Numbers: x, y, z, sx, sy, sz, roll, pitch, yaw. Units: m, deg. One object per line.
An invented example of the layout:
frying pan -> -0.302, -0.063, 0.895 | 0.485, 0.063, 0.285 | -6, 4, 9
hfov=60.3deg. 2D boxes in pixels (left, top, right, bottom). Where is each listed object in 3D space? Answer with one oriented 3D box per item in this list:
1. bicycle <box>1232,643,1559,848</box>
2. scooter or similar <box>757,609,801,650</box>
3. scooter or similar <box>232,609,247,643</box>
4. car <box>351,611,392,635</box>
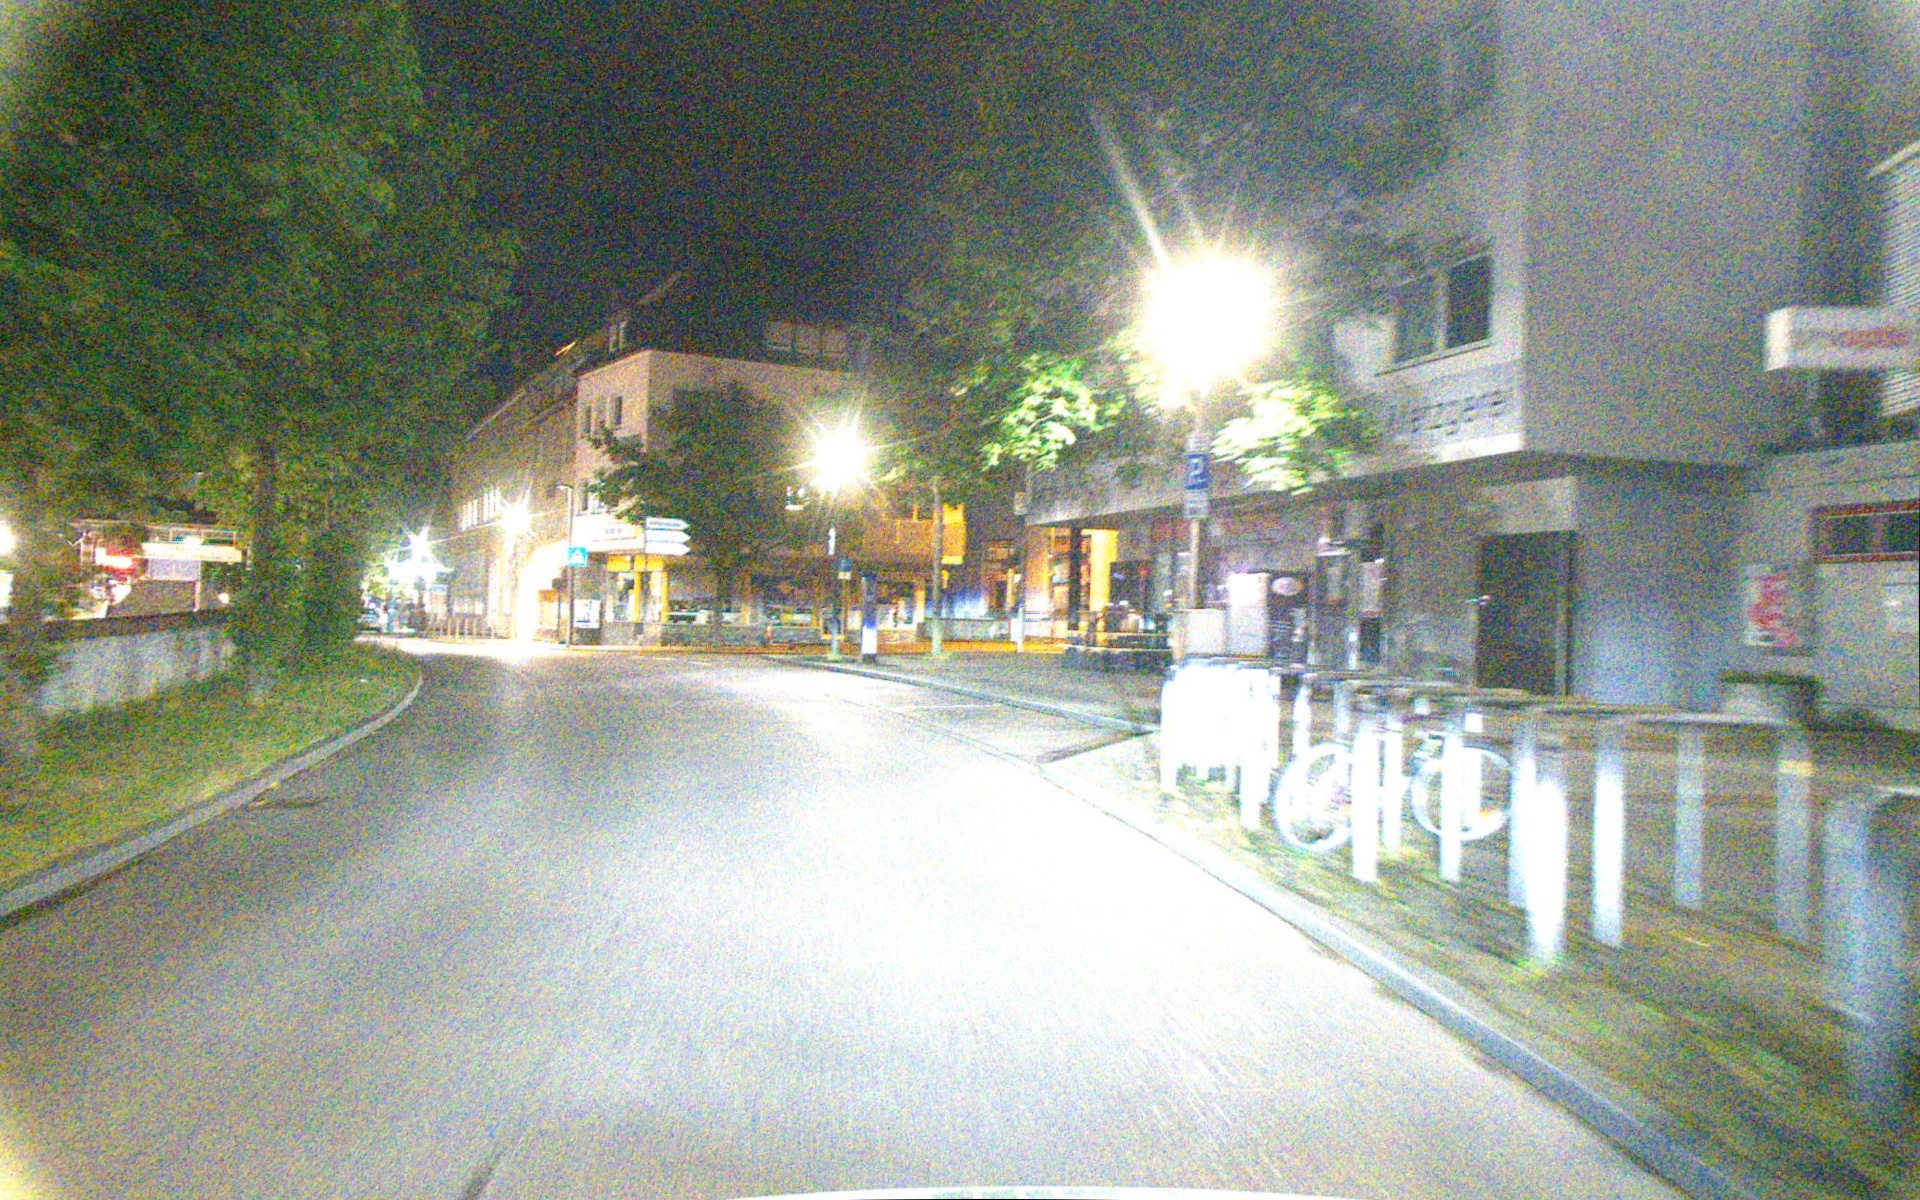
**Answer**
bicycle -> 2.498, 0.817, 9.501 | 1.722, 1.081, 0.652 | 2, 0, -18
scooter or similar -> -5.815, 0.950, 53.181 | 1.228, 1.248, 0.595 | 3, 0, -21
scooter or similar -> -24.797, 0.888, 56.913 | 0.425, 1.154, 0.995 | 0, 0, -27
car -> -35.651, 1.377, 100.143 | 1.812, 1.382, 3.964 | 0, 0, -28
